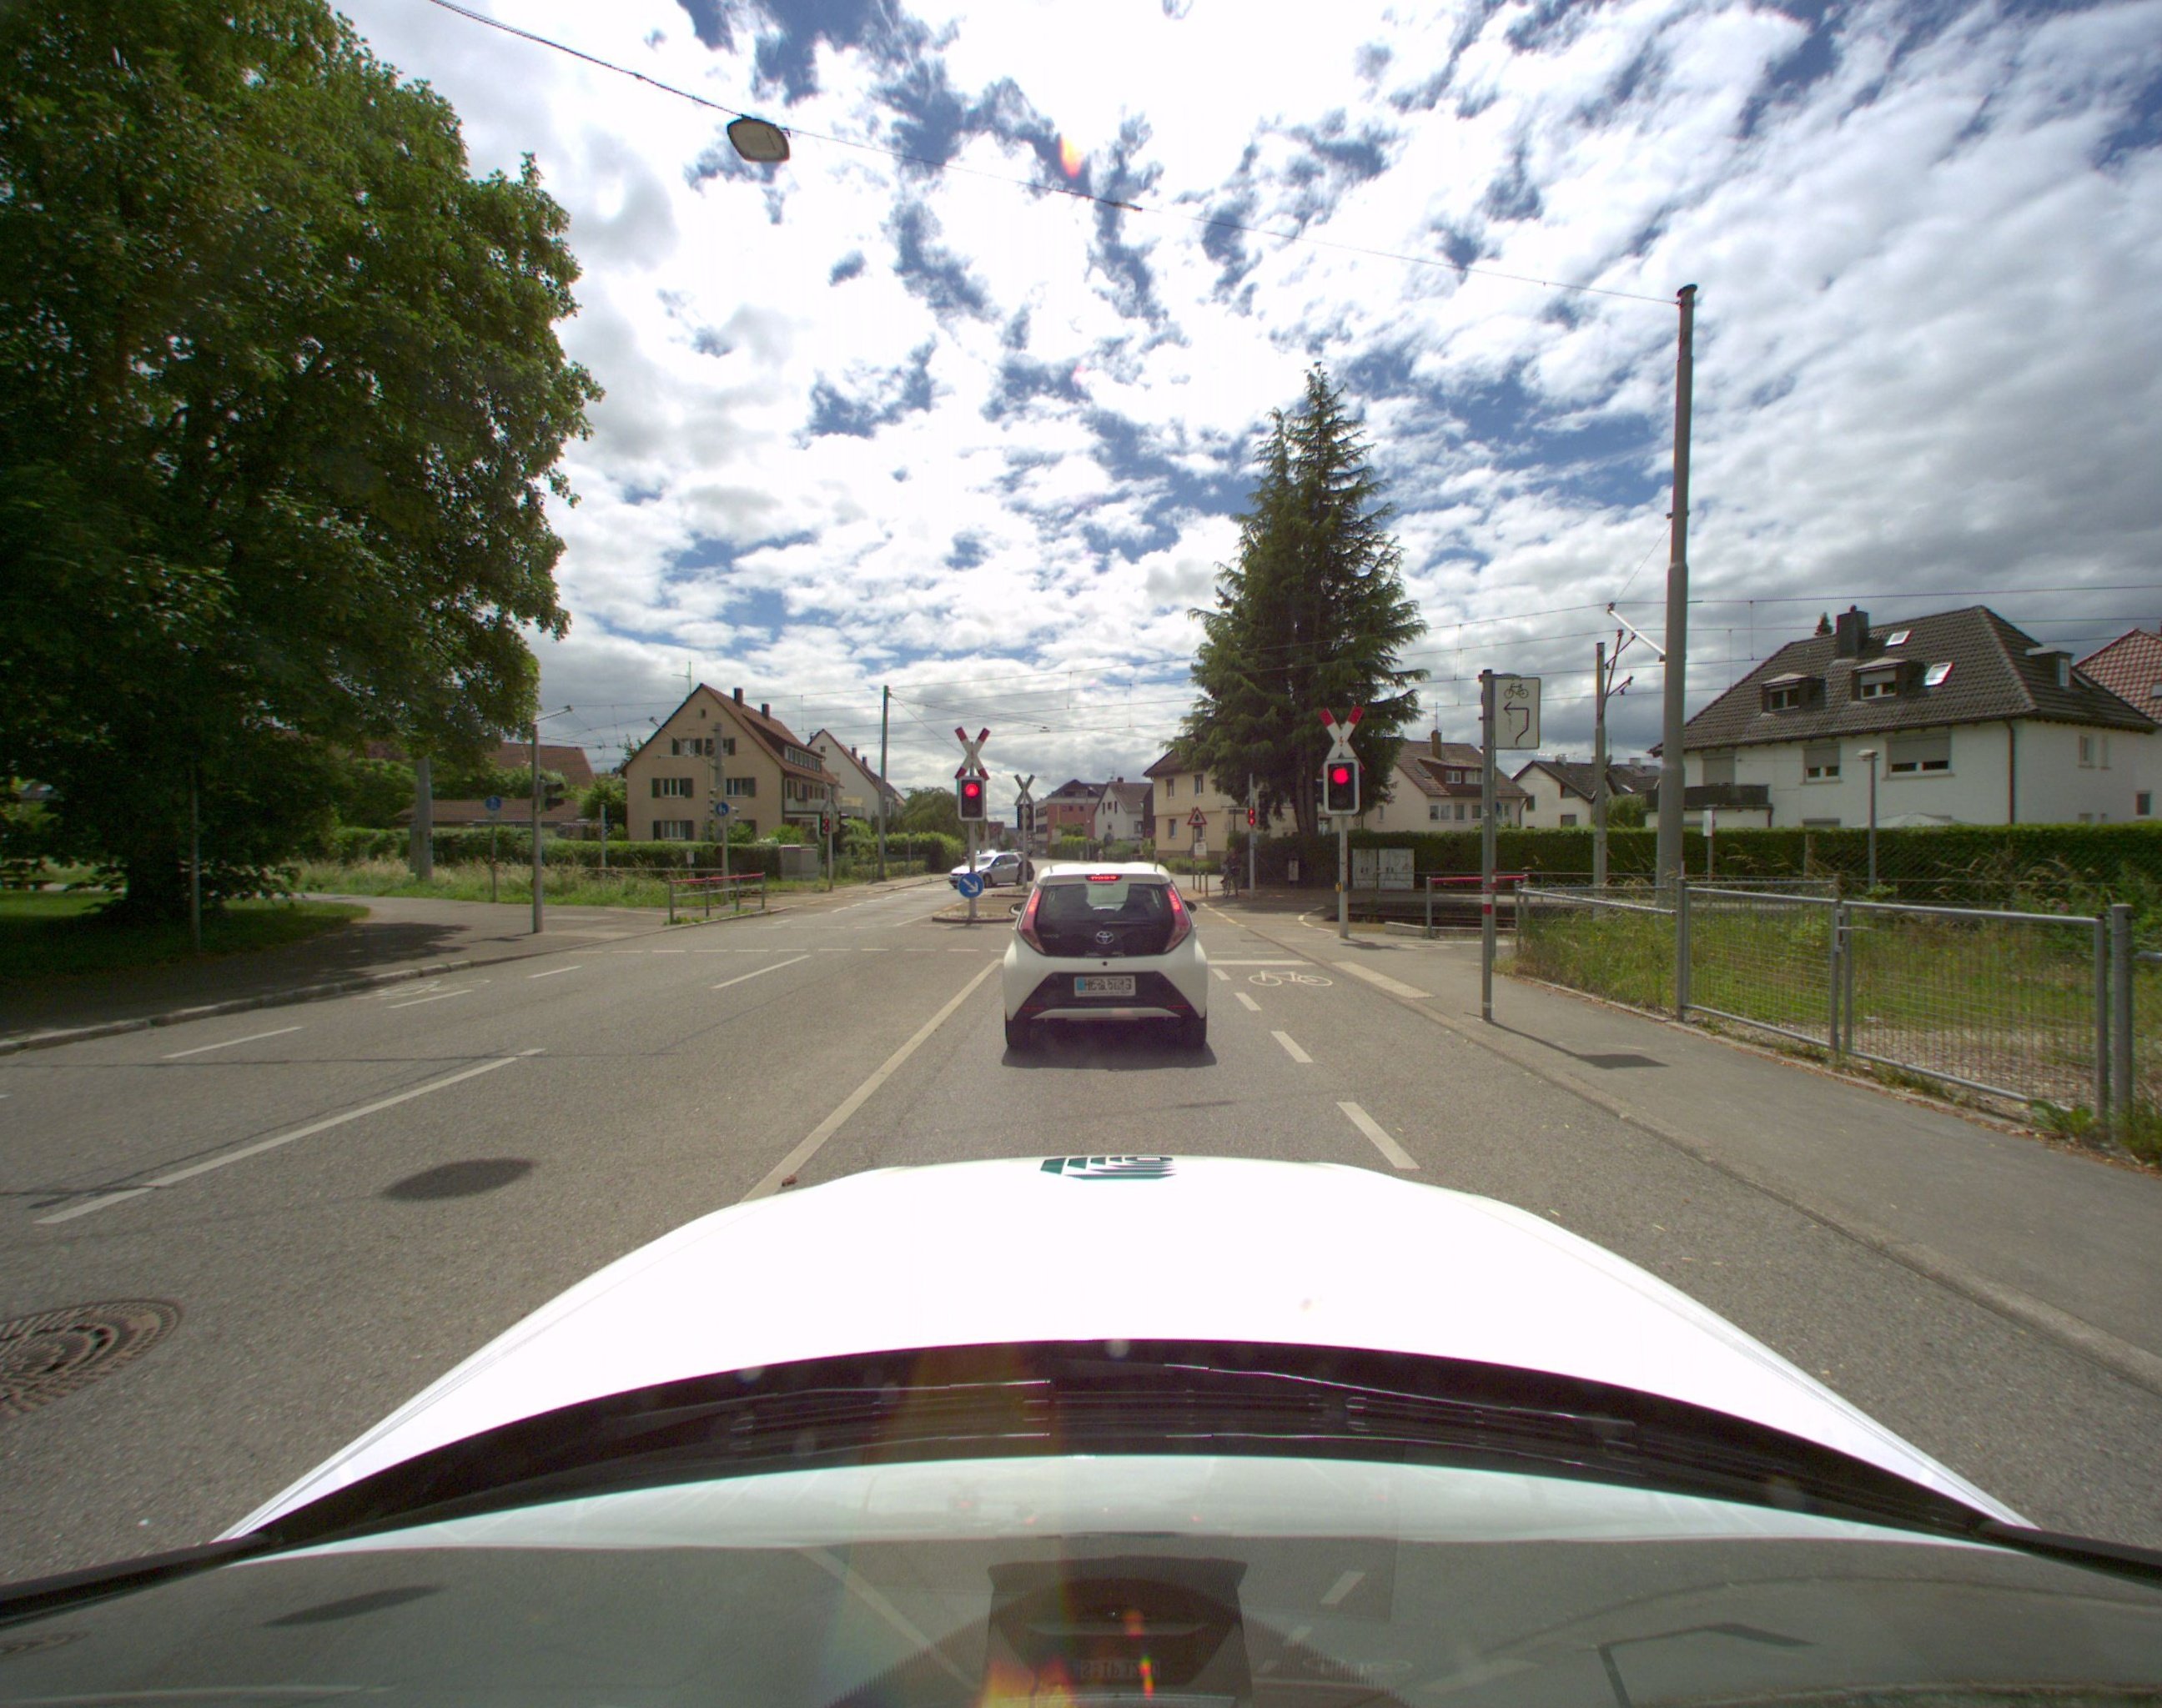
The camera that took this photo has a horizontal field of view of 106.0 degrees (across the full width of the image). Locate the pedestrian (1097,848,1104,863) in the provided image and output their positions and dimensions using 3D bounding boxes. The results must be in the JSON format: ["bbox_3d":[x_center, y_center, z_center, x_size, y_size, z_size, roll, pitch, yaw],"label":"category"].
[{"bbox_3d":[2.149,0.172,90.352,0.723,1.576,0.804,0,0,2],"label":"pedestrian"}]

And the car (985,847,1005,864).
[{"bbox_3d":[-9.200,0.136,87.267,1.990,1.719,3.994,1,0,-4],"label":"car"}]

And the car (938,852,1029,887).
[{"bbox_3d":[-4.210,0.651,35.861,1.887,1.441,4.124,0,0,30],"label":"car"}]

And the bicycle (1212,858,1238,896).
[{"bbox_3d":[4.855,0.754,27.479,0.456,1.172,1.477,-3,2,-4],"label":"bicycle"}]

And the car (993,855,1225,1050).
[{"bbox_3d":[0.167,0.739,7.924,1.716,1.442,3.706,1,0,-2],"label":"car"}]

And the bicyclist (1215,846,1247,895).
[{"bbox_3d":[5.027,0.552,27.356,0.839,1.553,0.755,-3,2,-4],"label":"bicyclist"}]
